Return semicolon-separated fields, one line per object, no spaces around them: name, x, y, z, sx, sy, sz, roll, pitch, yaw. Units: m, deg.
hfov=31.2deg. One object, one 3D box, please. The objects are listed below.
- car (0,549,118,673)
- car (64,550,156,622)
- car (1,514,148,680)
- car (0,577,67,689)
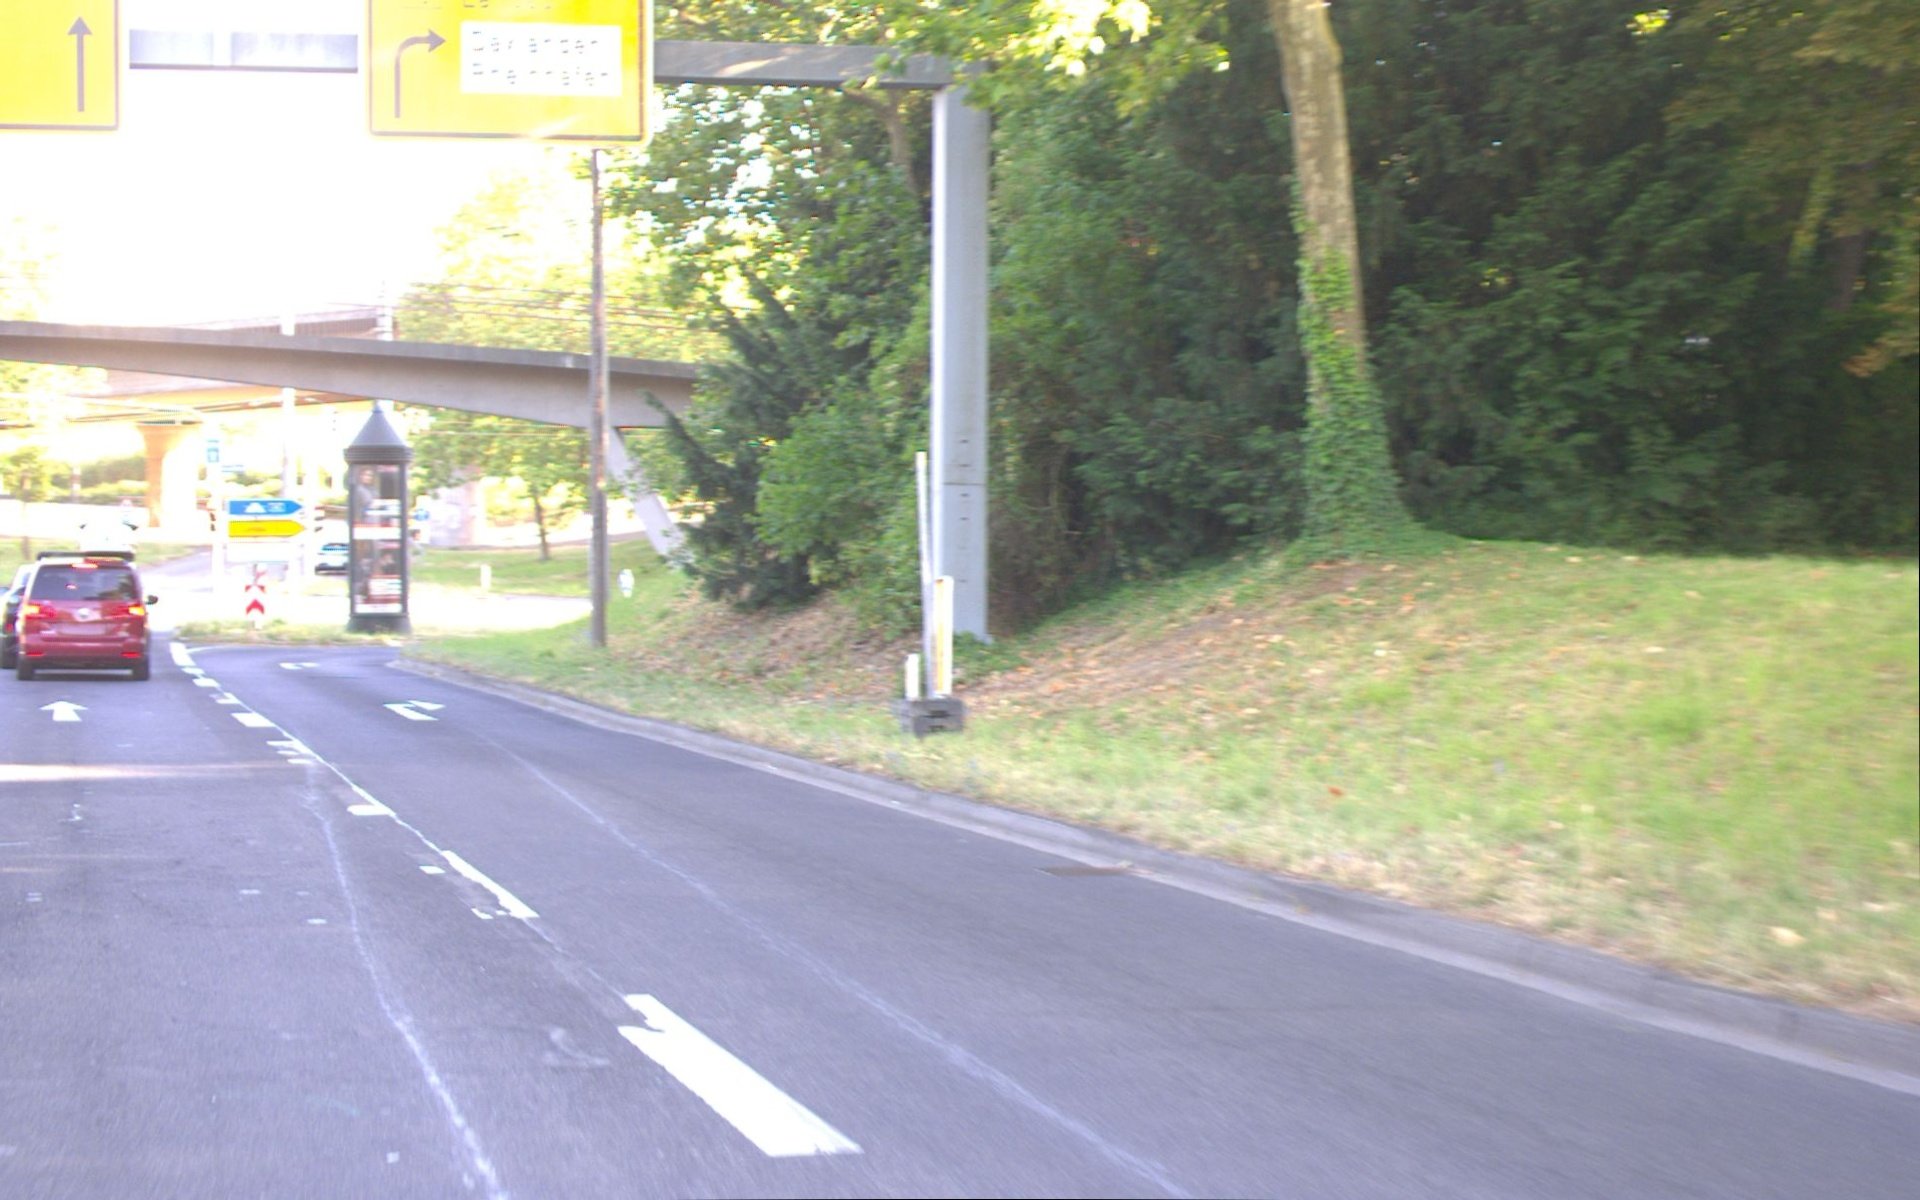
car;-13.902;0.125;52.847;1.792;1.744;4.242;-2;2;-14
car;-17.960;-0.313;72.638;1.792;1.378;4.478;-2;2;-14
car;-12.048;-0.084;46.802;1.792;2.098;4.001;-2;2;-14
car;-16.097;0.536;58.224;1.792;1.744;4.001;-2;2;-14
